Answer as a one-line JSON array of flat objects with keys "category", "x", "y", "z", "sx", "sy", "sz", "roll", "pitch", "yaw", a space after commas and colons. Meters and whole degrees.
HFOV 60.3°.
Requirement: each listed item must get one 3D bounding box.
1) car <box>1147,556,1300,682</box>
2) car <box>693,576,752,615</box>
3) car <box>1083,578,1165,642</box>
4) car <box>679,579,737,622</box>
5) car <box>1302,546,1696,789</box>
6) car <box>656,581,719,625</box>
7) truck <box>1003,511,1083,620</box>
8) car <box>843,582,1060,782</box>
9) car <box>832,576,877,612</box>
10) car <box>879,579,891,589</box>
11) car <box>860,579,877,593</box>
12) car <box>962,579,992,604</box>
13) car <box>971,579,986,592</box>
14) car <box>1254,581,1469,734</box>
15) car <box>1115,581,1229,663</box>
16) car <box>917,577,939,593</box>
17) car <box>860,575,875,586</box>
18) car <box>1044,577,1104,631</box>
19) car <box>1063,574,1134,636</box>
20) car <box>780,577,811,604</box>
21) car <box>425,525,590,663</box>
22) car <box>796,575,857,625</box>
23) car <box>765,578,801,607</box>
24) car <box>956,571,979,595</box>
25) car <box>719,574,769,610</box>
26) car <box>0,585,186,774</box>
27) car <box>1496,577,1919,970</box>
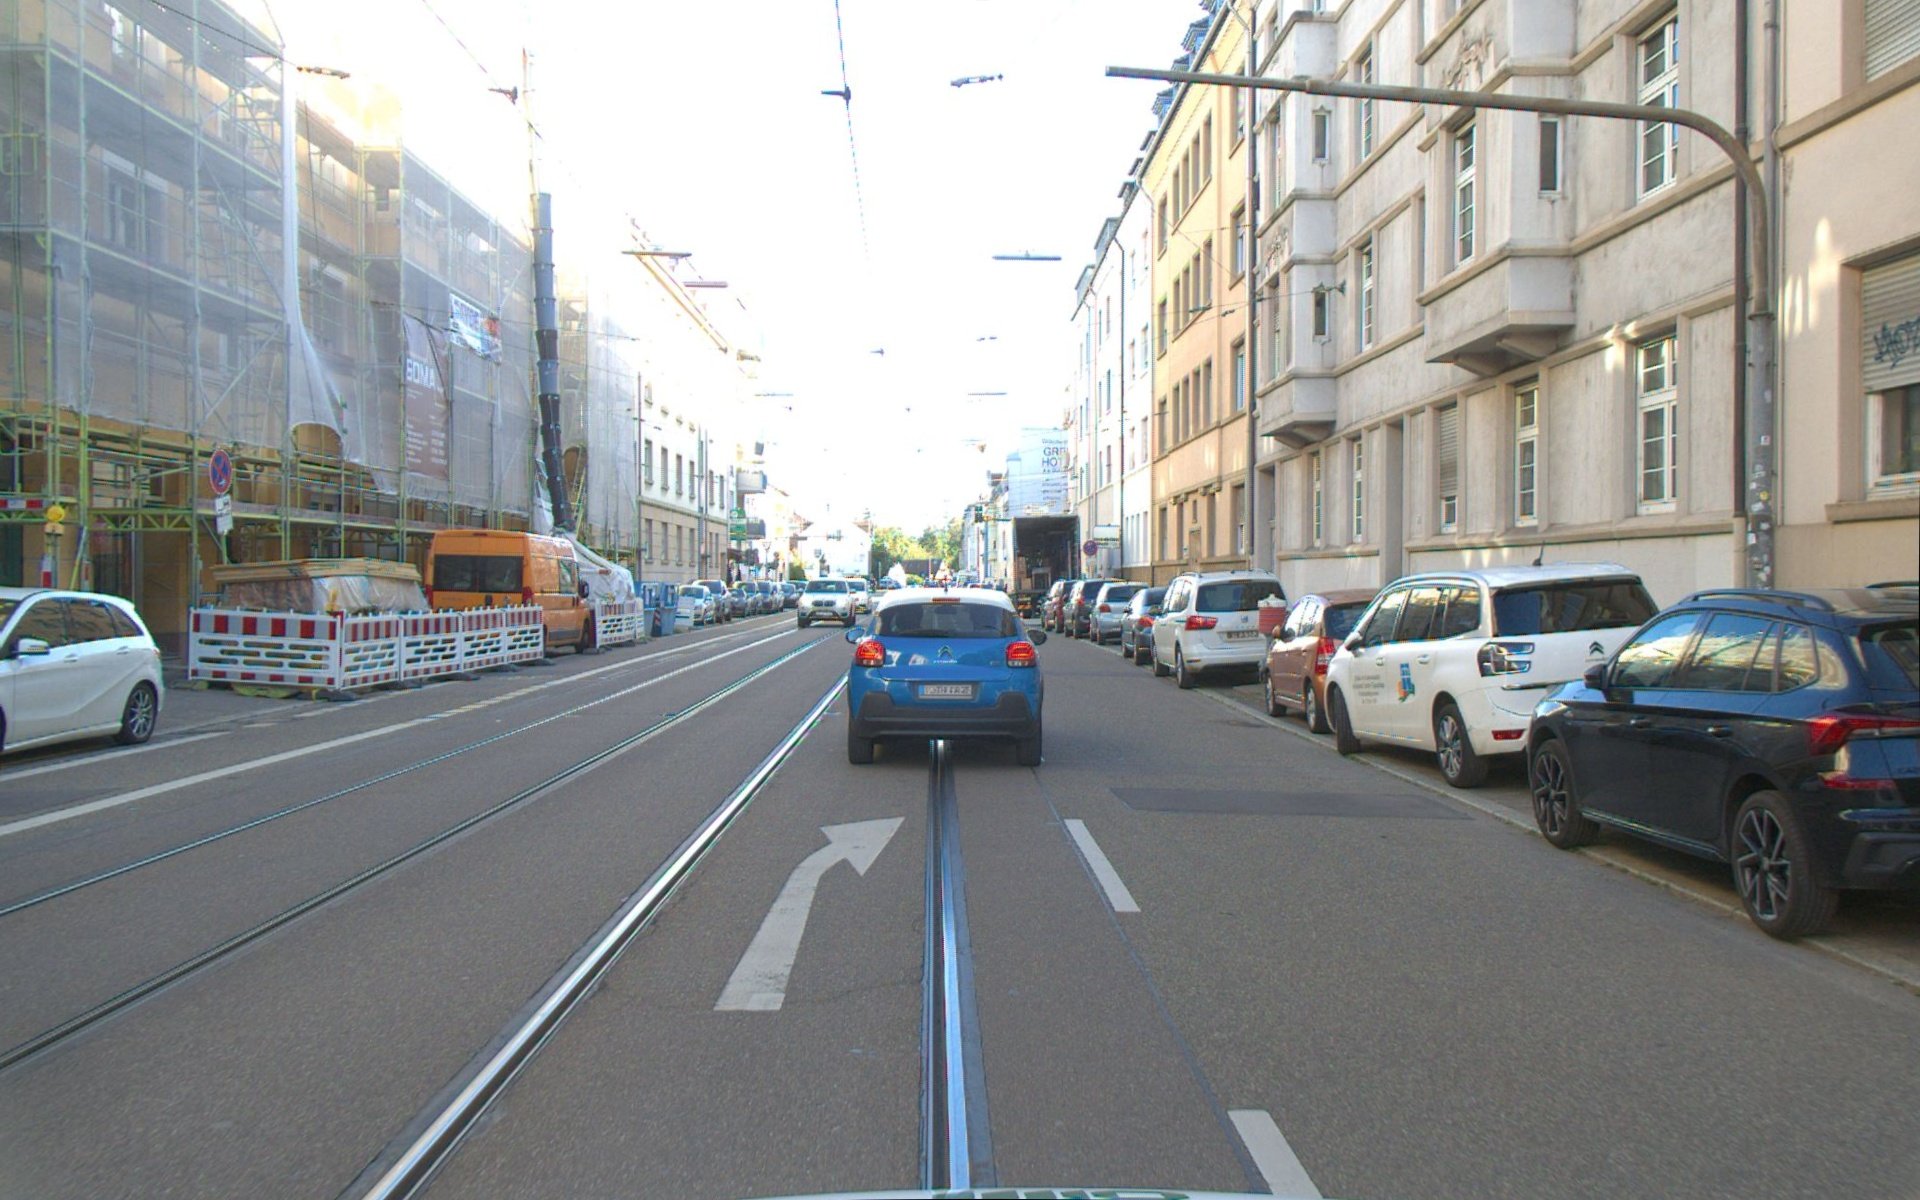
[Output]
[{"category": "car", "x": 4.182, "y": 0.250, "z": 26.906, "sx": 1.695, "sy": 1.859, "sz": 4.686, "roll": 0, "pitch": 1, "yaw": -1}, {"category": "car", "x": -10.470, "y": -0.219, "z": 73.275, "sx": 2.101, "sy": 1.649, "sz": 3.999, "roll": -1, "pitch": 1, "yaw": -1}, {"category": "car", "x": 4.147, "y": 0.223, "z": 42.256, "sx": 1.630, "sy": 1.546, "sz": 4.221, "roll": 0, "pitch": 1, "yaw": -1}, {"category": "car", "x": -9.914, "y": -0.007, "z": 65.306, "sx": 1.679, "sy": 1.621, "sz": 4.266, "roll": 0, "pitch": 1, "yaw": -1}, {"category": "car", "x": 4.472, "y": 0.465, "z": 14.526, "sx": 1.622, "sy": 1.782, "sz": 4.598, "roll": 0, "pitch": 1, "yaw": -5}, {"category": "car", "x": -9.918, "y": 0.068, "z": 60.435, "sx": 1.679, "sy": 1.544, "sz": 4.047, "roll": 0, "pitch": 1, "yaw": -1}, {"category": "truck", "x": 3.322, "y": -1.387, "z": 68.797, "sx": 2.794, "sy": 4.154, "sz": 11.271, "roll": 0, "pitch": 1, "yaw": 0}, {"category": "car", "x": -0.085, "y": 0.636, "z": 15.268, "sx": 1.700, "sy": 1.533, "sz": 3.992, "roll": 2, "pitch": 1, "yaw": -1}, {"category": "car", "x": -4.967, "y": -0.317, "z": 78.261, "sx": 1.863, "sy": 1.660, "sz": 4.266, "roll": 0, "pitch": 1, "yaw": -1}, {"category": "car", "x": -11.705, "y": -2.574, "z": 259.773, "sx": 1.729, "sy": 1.512, "sz": 4.031, "roll": 0, "pitch": 1, "yaw": -1}, {"category": "car", "x": -10.174, "y": -1.594, "z": 184.603, "sx": 1.729, "sy": 1.512, "sz": 4.031, "roll": 0, "pitch": 1, "yaw": -1}, {"category": "car", "x": 1.021, "y": -0.518, "z": 102.025, "sx": 1.729, "sy": 1.512, "sz": 4.031, "roll": 0, "pitch": 1, "yaw": -1}, {"category": "car", "x": 2.121, "y": -1.695, "z": 189.975, "sx": 1.729, "sy": 1.512, "sz": 4.031, "roll": 0, "pitch": 1, "yaw": -1}, {"category": "car", "x": 4.523, "y": 0.577, "z": 19.123, "sx": 1.581, "sy": 1.588, "sz": 3.600, "roll": 0, "pitch": 1, "yaw": -1}, {"category": "car", "x": 4.139, "y": 0.383, "z": 32.870, "sx": 1.687, "sy": 1.512, "sz": 4.221, "roll": 0, "pitch": 1, "yaw": -1}, {"category": "car", "x": -3.053, "y": -1.416, "z": 158.503, "sx": 2.136, "sy": 1.512, "sz": 4.159, "roll": 0, "pitch": 1, "yaw": -1}, {"category": "car", "x": -12.079, "y": -2.546, "z": 216.215, "sx": 1.729, "sy": 1.512, "sz": 4.031, "roll": 0, "pitch": 1, "yaw": -1}, {"category": "car", "x": 3.630, "y": 0.104, "z": 53.112, "sx": 1.630, "sy": 1.661, "sz": 3.871, "roll": 0, "pitch": 1, "yaw": -1}, {"category": "car", "x": 3.912, "y": 0.099, "z": 47.096, "sx": 1.630, "sy": 1.675, "sz": 4.221, "roll": 0, "pitch": 1, "yaw": -1}, {"category": "car", "x": -10.442, "y": -0.623, "z": 105.325, "sx": 1.789, "sy": 1.660, "sz": 3.903, "roll": 0, "pitch": 1, "yaw": -3}, {"category": "car", "x": -8.834, "y": -0.146, "z": 32.744, "sx": 2.101, "sy": 2.518, "sz": 4.978, "roll": 0, "pitch": 1, "yaw": -3}, {"category": "car", "x": -4.623, "y": -0.022, "z": 57.730, "sx": 1.788, "sy": 1.660, "sz": 4.490, "roll": 0, "pitch": 1, "yaw": -1}, {"category": "car", "x": -10.582, "y": -0.477, "z": 99.120, "sx": 1.789, "sy": 1.660, "sz": 3.904, "roll": 0, "pitch": 1, "yaw": -1}, {"category": "car", "x": 0.712, "y": -1.628, "z": 160.934, "sx": 2.174, "sy": 2.324, "sz": 4.083, "roll": 0, "pitch": 1, "yaw": -1}, {"category": "car", "x": -10.266, "y": -0.396, "z": 79.052, "sx": 1.788, "sy": 1.660, "sz": 4.848, "roll": 0, "pitch": 1, "yaw": -1}, {"category": "car", "x": -8.980, "y": 0.670, "z": 15.100, "sx": 1.683, "sy": 1.528, "sz": 4.388, "roll": 2, "pitch": 1, "yaw": 1}, {"category": "car", "x": 4.419, "y": 0.680, "z": 8.918, "sx": 1.621, "sy": 1.594, "sz": 4.338, "roll": 0, "pitch": 1, "yaw": -1}]
